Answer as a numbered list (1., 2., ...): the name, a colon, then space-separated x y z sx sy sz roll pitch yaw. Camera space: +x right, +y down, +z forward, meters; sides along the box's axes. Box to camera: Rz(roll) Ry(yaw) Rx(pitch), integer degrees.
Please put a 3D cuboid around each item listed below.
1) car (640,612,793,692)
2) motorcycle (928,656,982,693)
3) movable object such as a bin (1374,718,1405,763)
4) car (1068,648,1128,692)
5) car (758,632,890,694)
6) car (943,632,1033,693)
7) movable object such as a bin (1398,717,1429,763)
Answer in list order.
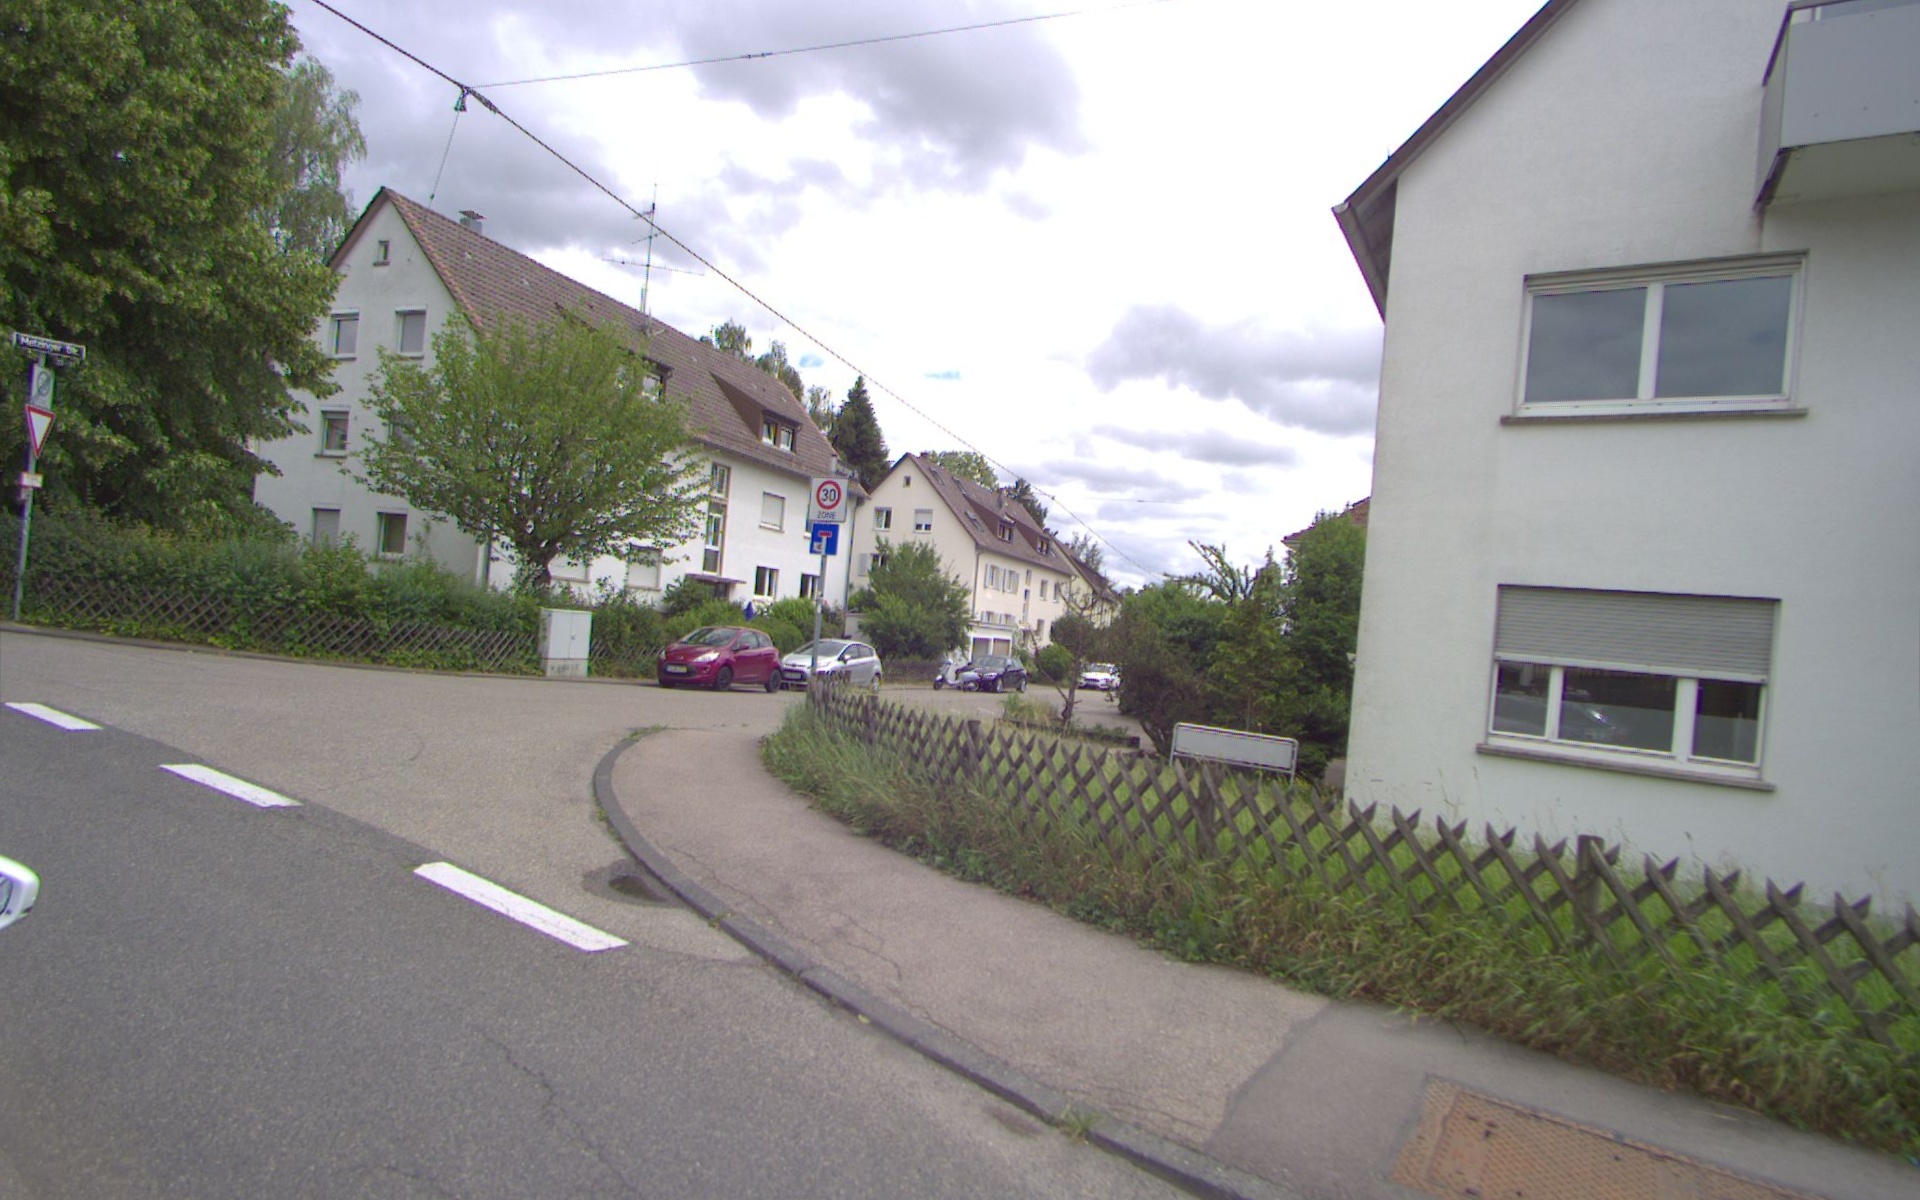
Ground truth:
1. car: -5.501 1.263 23.241 1.656 1.581 3.715 3 -4 18
2. motorcycle: -0.172 2.683 36.411 1.789 1.151 0.536 6 -1 -12
3. movable object such as a bin: 12.346 4.039 28.916 0.625 1.184 0.564 7 -2 32
4. car: 7.634 3.872 55.201 1.964 2.036 4.000 6 -2 26
5. car: -3.651 1.770 27.661 1.811 1.384 3.742 4 -4 24
6. car: 1.173 2.500 39.370 1.964 2.036 4.001 5 -3 25
7. movable object such as a bin: 12.890 3.977 28.574 0.625 1.184 0.564 7 -2 32
